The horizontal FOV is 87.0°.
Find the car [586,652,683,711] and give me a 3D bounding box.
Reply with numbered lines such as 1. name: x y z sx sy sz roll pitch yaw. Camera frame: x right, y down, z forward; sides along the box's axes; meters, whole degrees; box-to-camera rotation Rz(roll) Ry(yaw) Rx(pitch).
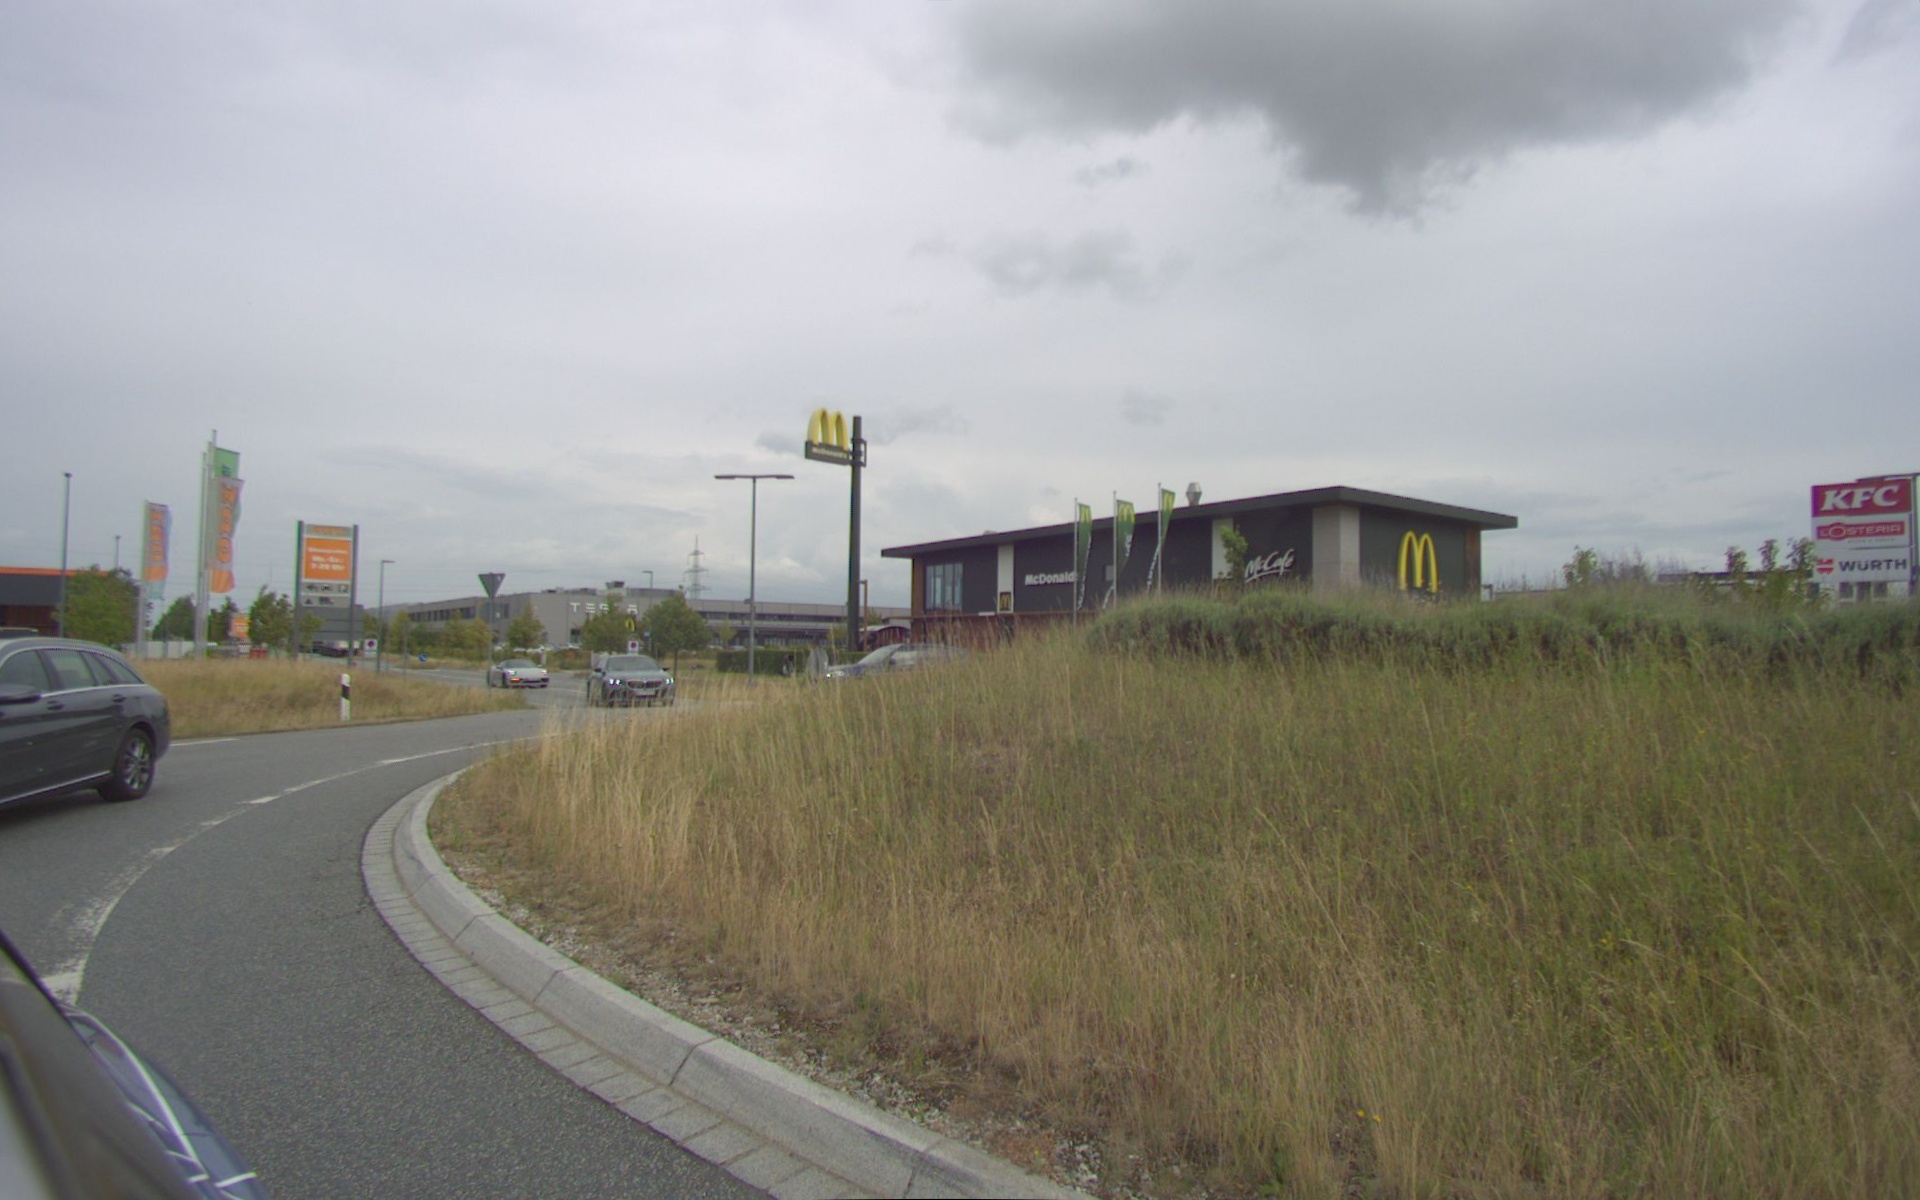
1. car: -9.467 2.271 29.204 1.964 1.516 4.320 0 -3 -27

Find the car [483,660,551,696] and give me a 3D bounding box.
1. car: -20.229 3.517 46.098 1.798 1.408 4.745 2 -2 -37

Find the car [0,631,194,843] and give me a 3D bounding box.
1. car: -7.875 0.984 7.564 1.875 1.508 4.351 1 -2 -15

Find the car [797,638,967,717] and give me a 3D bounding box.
1. car: -2.017 1.939 26.138 3.931 1.732 1.850 -2 -1 -23
